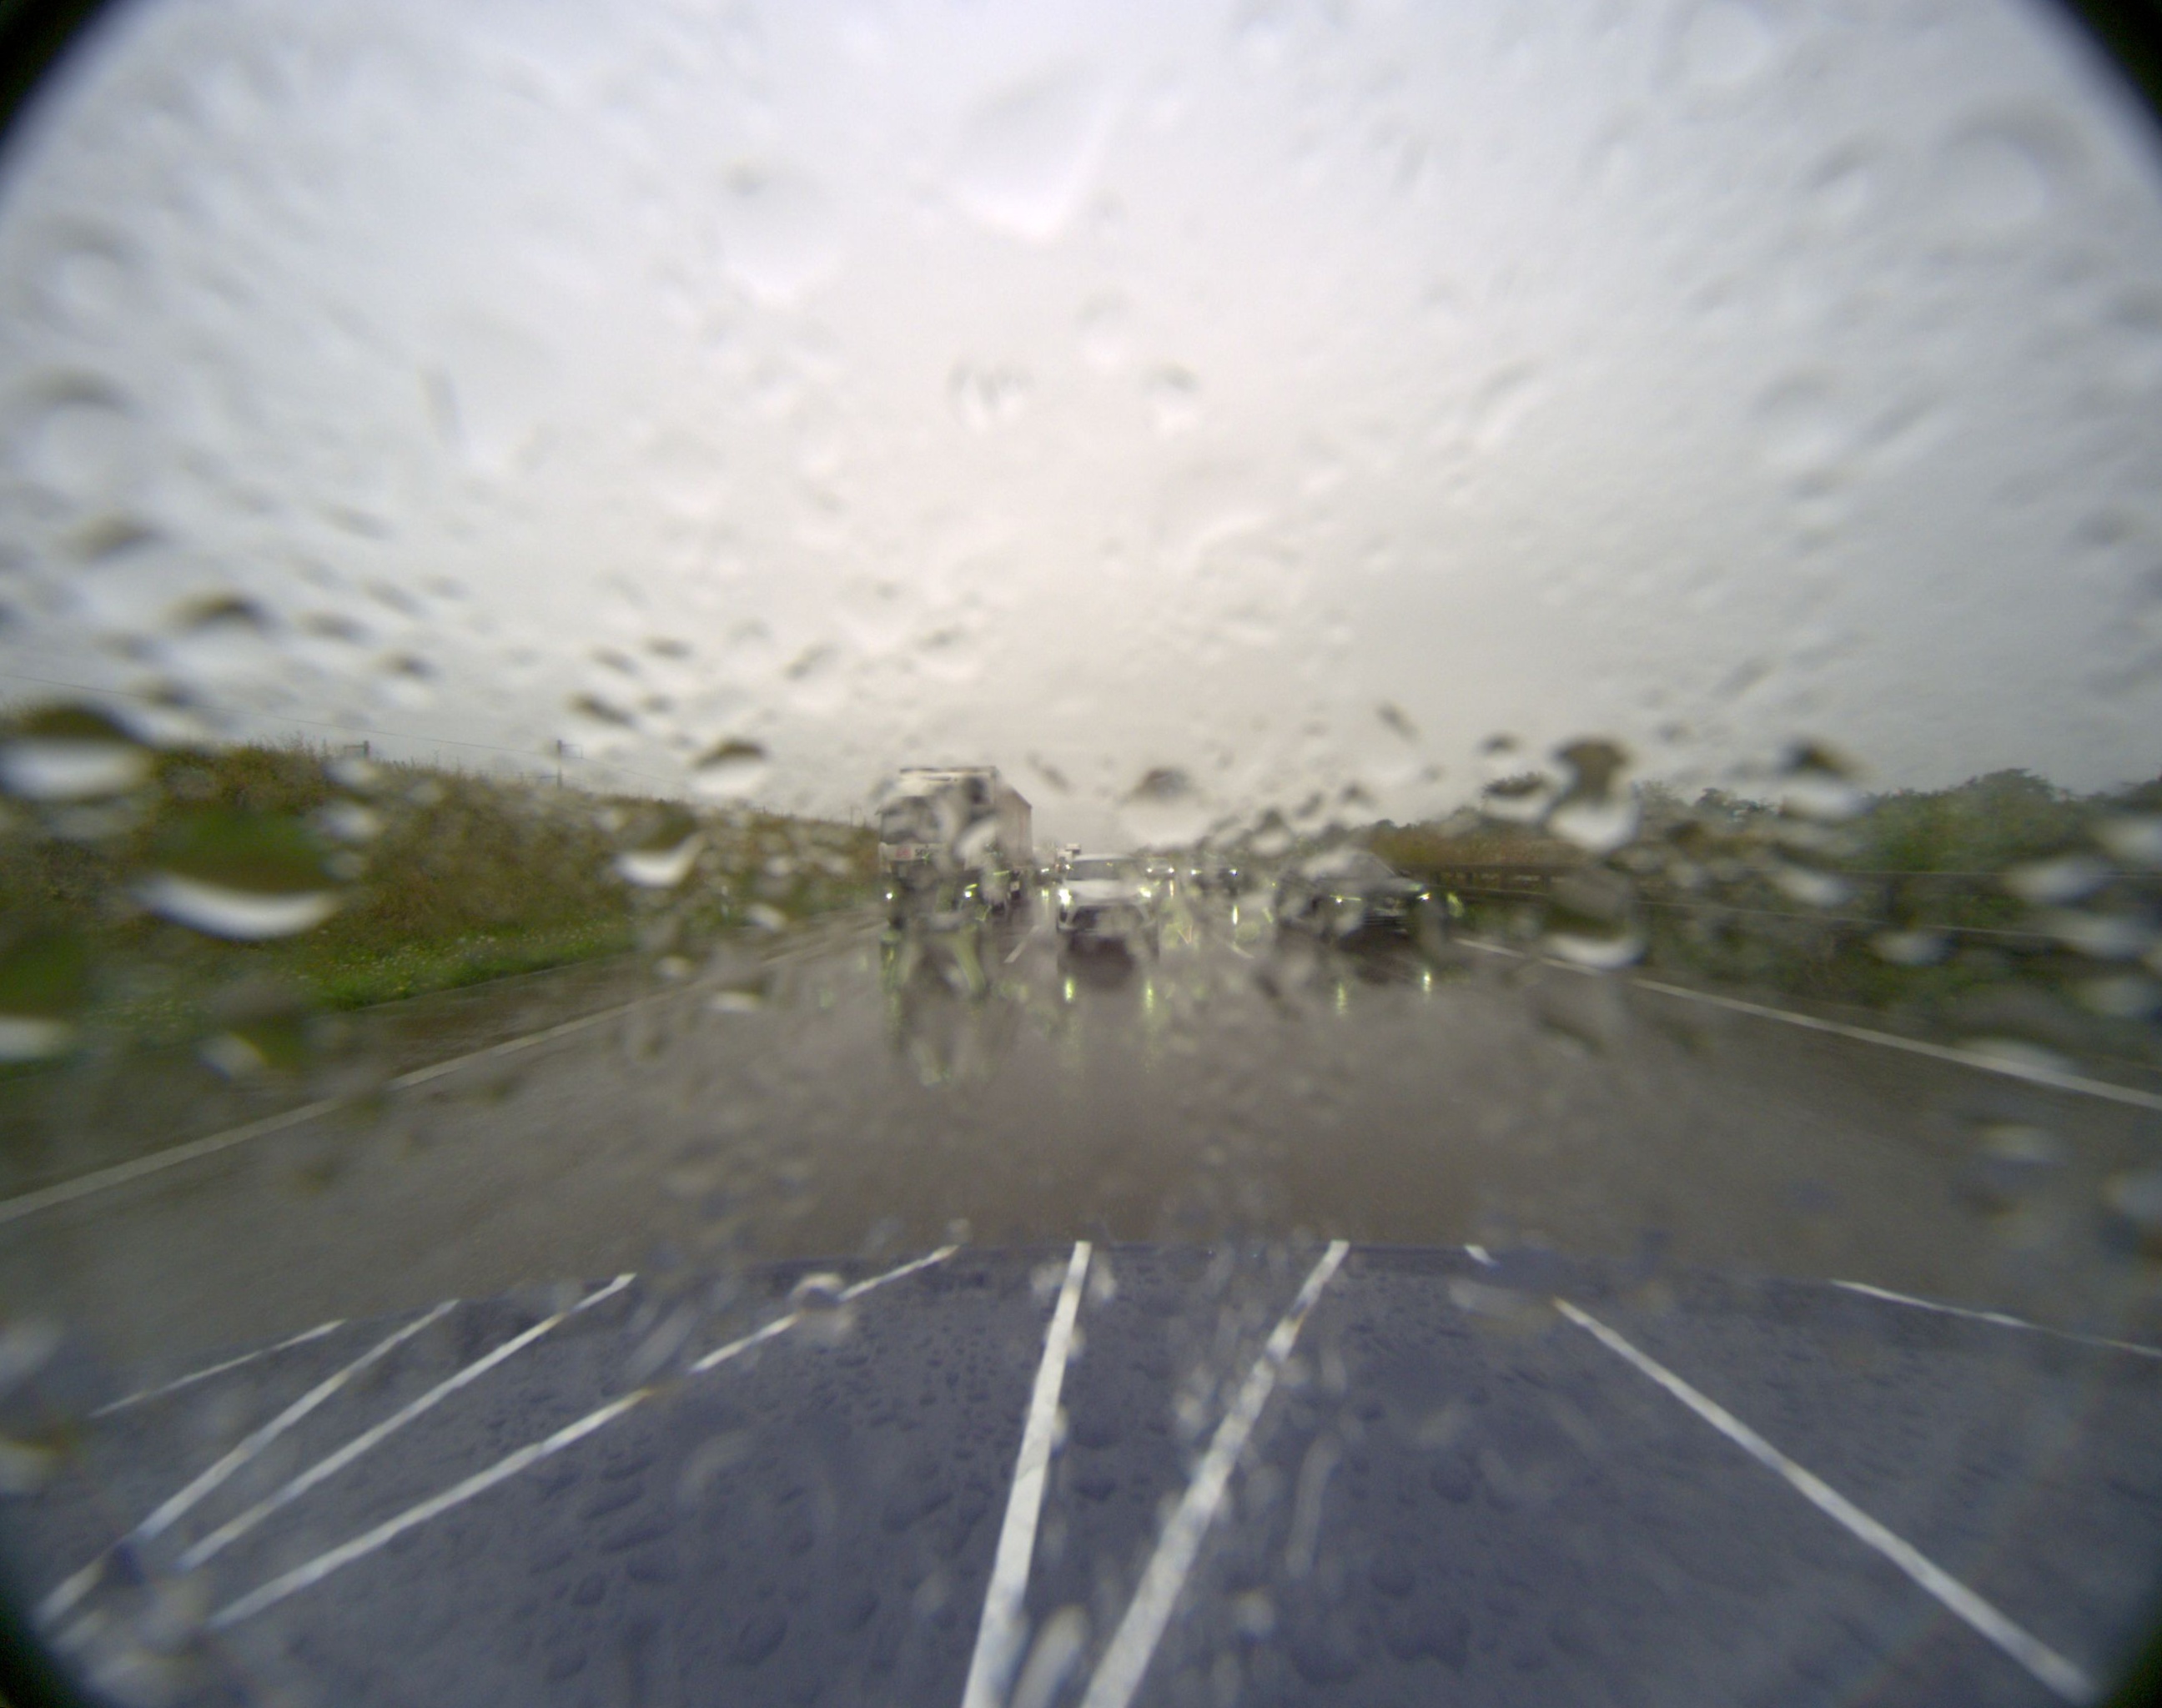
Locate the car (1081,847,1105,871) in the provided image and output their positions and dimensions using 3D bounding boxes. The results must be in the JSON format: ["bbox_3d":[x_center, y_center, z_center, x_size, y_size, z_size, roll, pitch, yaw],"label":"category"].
[{"bbox_3d":[1.072,0.428,66.817,1.998,2.002,4.000,-2,0,2],"label":"car"}]

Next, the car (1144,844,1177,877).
[{"bbox_3d":[5.174,0.418,49.844,1.888,2.002,4.270,-2,0,4],"label":"car"}]

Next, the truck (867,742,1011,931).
[{"bbox_3d":[-3.460,-0.424,19.870,2.633,4.229,5.042,-2,1,0],"label":"truck"}]

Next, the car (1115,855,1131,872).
[{"bbox_3d":[5.080,1.122,92.171,1.737,2.002,4.223,-2,0,1],"label":"car"}]

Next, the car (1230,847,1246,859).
[{"bbox_3d":[22.354,-0.193,108.245,1.504,1.648,3.409,-2,0,1],"label":"car"}]

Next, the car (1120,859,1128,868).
[{"bbox_3d":[7.476,1.647,132.243,1.458,1.540,2.804,0,2,1],"label":"car"}]

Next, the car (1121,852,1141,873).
[{"bbox_3d":[5.037,0.783,76.356,1.737,2.002,4.223,-2,0,1],"label":"car"}]

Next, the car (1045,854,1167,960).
[{"bbox_3d":[0.425,0.843,14.062,1.893,1.578,3.999,-2,1,1],"label":"car"}]

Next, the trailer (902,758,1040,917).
[{"bbox_3d":[-3.372,-0.528,27.806,2.633,4.224,14.174,-2,1,1],"label":"trailer"}]

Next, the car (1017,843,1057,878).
[{"bbox_3d":[-2.660,0.332,47.306,1.946,2.002,4.446,-2,1,3],"label":"car"}]

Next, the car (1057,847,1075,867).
[{"bbox_3d":[-1.735,0.332,89.944,1.998,2.231,4.000,-2,0,1],"label":"car"}]

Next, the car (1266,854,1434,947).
[{"bbox_3d":[4.804,0.742,14.253,1.613,1.428,4.370,-2,0,1],"label":"car"}]

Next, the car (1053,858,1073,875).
[{"bbox_3d":[-1.974,1.358,83.393,1.998,1.805,4.000,-2,0,1],"label":"car"}]

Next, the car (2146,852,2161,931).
[{"bbox_3d":[21.707,0.713,13.265,1.398,1.524,3.447,-2,0,1],"label":"car"}]

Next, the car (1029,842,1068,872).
[{"bbox_3d":[-2.255,0.168,53.647,2.260,2.002,4.269,-2,1,4],"label":"car"}]

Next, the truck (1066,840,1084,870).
[{"bbox_3d":[-0.982,0.178,121.897,2.628,4.635,4.290,-2,0,1],"label":"truck"}]

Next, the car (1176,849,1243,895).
[{"bbox_3d":[4.969,0.661,29.909,1.889,1.622,4.269,-2,0,0],"label":"car"}]
